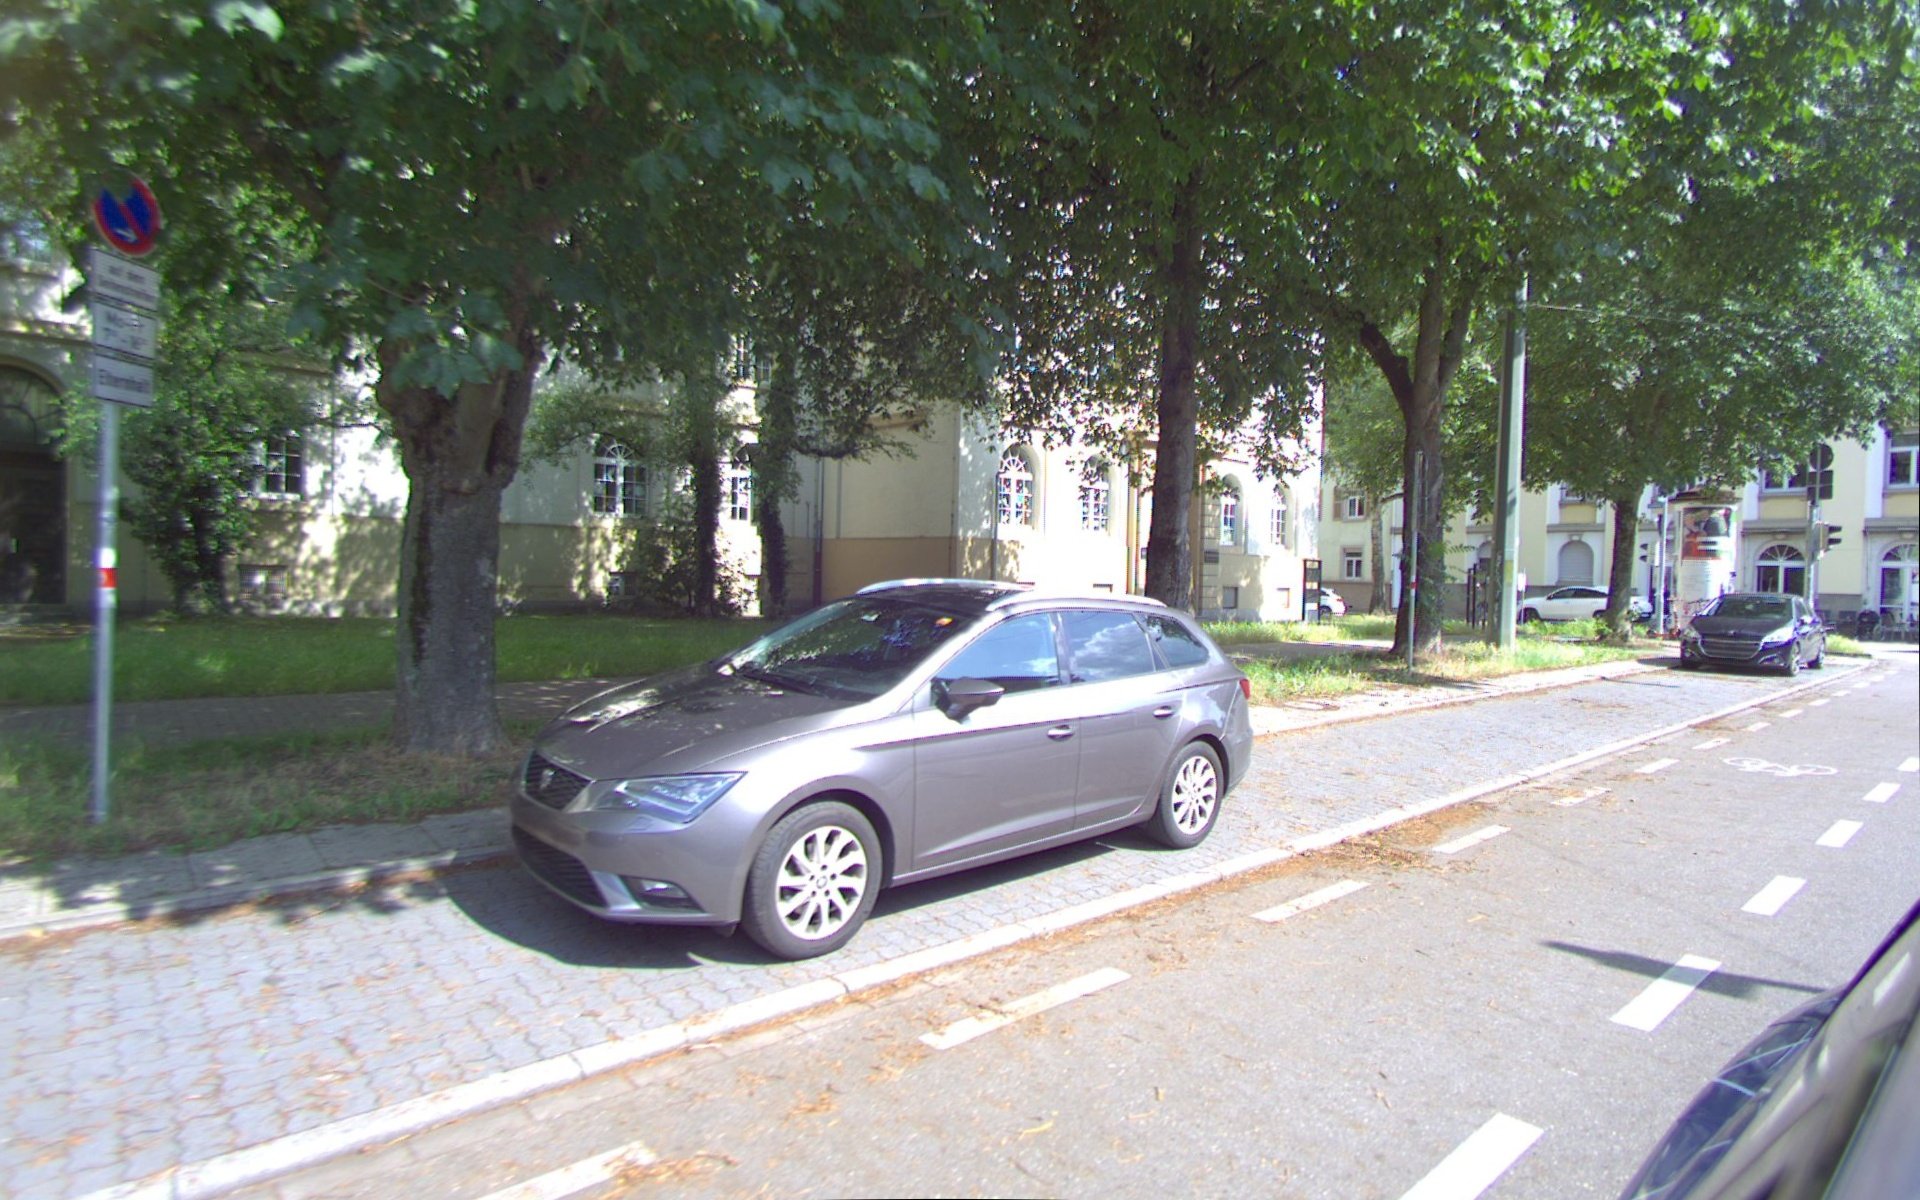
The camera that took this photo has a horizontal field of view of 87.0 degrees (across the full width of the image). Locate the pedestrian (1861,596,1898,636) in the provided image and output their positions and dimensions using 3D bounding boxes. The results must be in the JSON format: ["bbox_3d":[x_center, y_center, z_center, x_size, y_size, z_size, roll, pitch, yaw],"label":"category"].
[{"bbox_3d":[31.762,0.528,34.960,0.745,1.304,0.804,-2,3,-38],"label":"pedestrian"}]

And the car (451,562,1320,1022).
[{"bbox_3d":[-0.051,0.613,5.568,4.578,1.417,1.833,0,5,-43],"label":"car"}]

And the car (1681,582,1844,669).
[{"bbox_3d":[15.240,0.403,19.158,3.856,1.404,1.689,-1,4,-41],"label":"car"}]

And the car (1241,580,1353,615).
[{"bbox_3d":[14.365,-0.122,43.254,4.096,1.369,1.860,1,1,-5],"label":"car"}]

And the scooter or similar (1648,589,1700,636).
[{"bbox_3d":[19.956,0.341,28.298,0.437,1.257,1.111,1,1,-19],"label":"scooter or similar"}]

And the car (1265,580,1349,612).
[{"bbox_3d":[18.054,-0.231,52.808,1.820,1.442,4.006,-3,3,-29],"label":"car"}]

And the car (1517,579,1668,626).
[{"bbox_3d":[25.156,0.044,40.440,1.820,1.675,4.841,-1,3,-30],"label":"car"}]
